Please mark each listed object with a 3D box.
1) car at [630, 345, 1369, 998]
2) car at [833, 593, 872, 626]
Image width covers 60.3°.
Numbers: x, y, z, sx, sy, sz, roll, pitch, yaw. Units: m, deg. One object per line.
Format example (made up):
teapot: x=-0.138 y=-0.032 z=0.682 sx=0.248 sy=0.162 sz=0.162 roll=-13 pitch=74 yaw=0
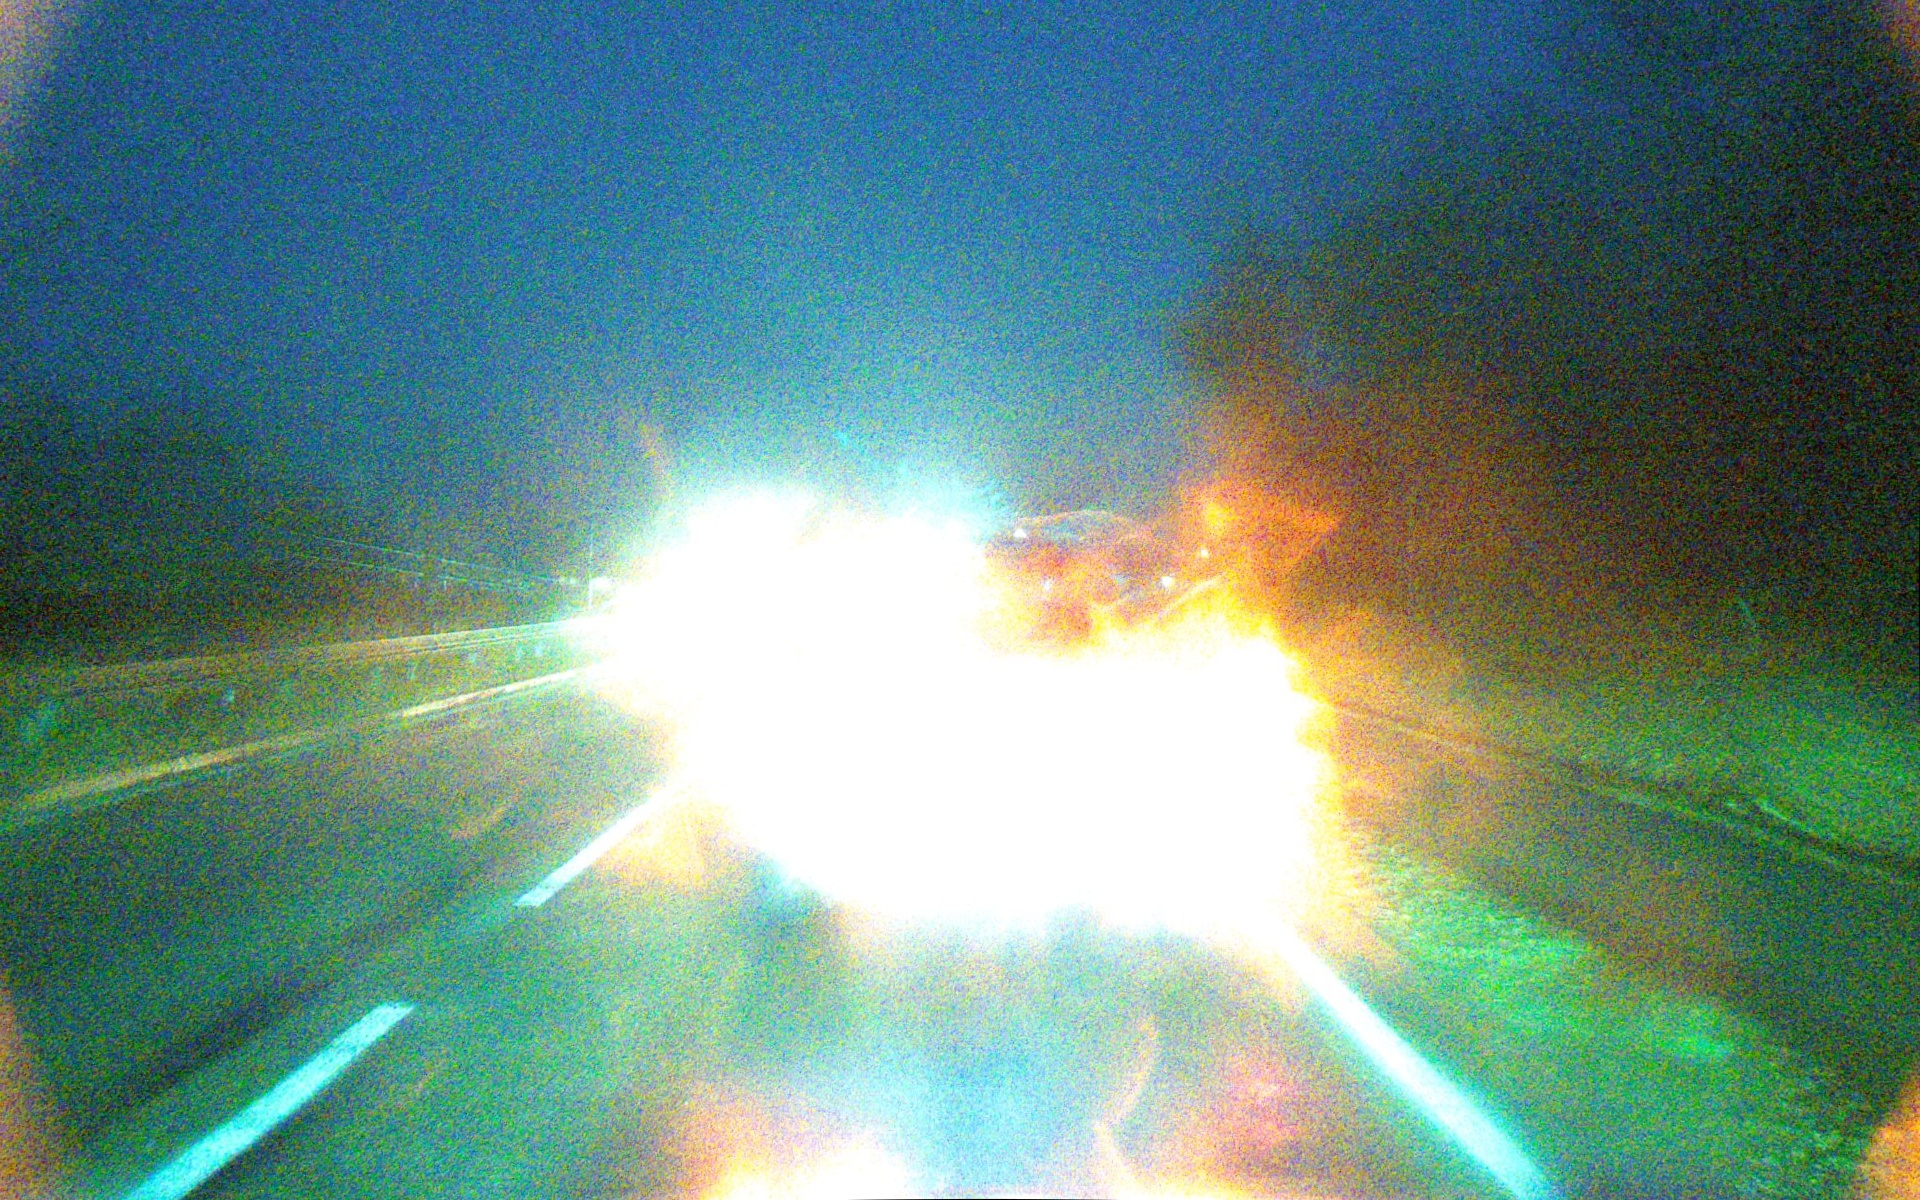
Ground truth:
car: x=0.098 y=0.241 z=9.039 sx=2.660 sy=2.348 sz=6.099 roll=0 pitch=0 yaw=-1
car: x=-5.240 y=0.453 z=80.762 sx=1.511 sy=1.537 sz=3.881 roll=1 pitch=0 yaw=2
